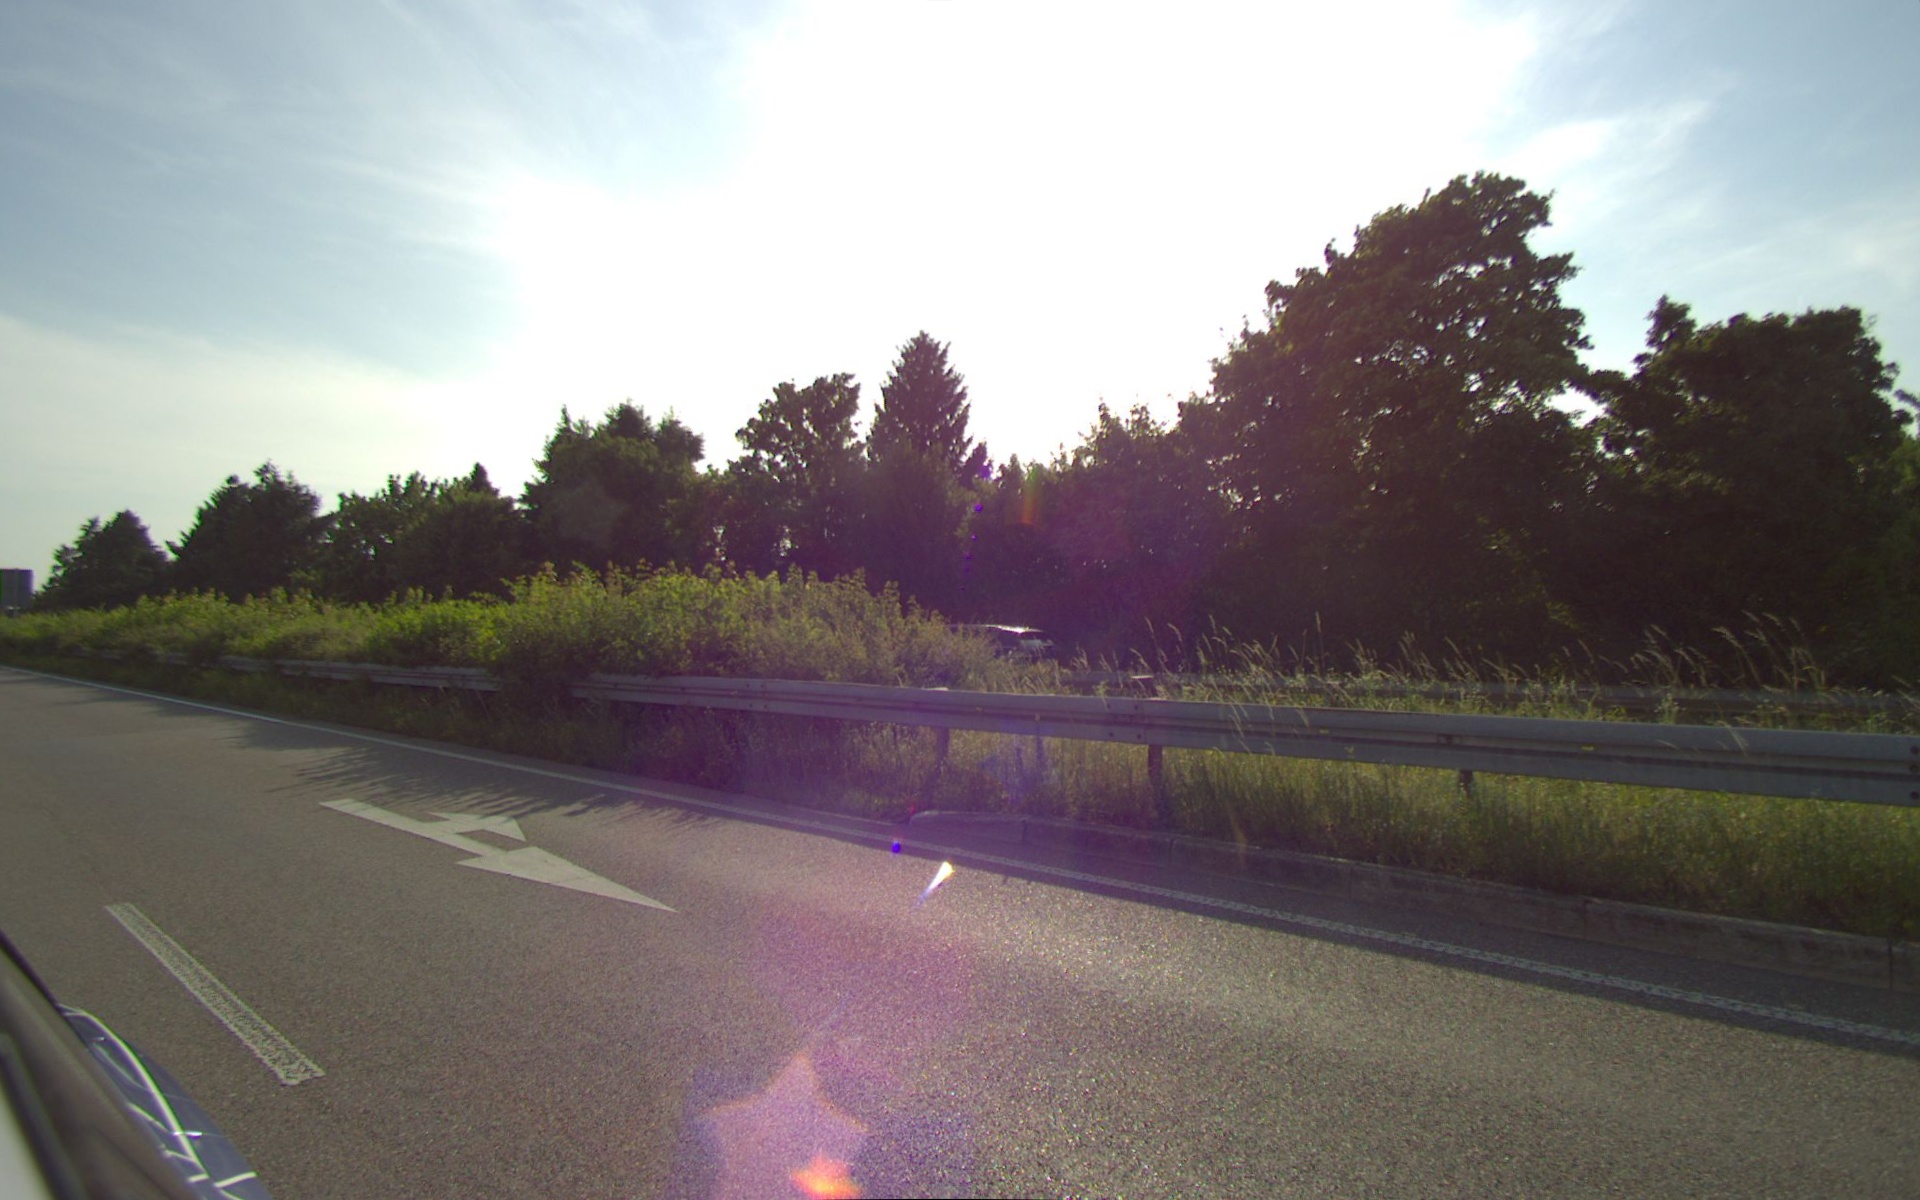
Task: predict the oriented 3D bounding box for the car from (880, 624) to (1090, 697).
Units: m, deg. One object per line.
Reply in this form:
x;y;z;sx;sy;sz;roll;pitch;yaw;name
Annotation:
0.449;1.190;20.641;3.997;1.298;1.874;-2;-2;40;car
